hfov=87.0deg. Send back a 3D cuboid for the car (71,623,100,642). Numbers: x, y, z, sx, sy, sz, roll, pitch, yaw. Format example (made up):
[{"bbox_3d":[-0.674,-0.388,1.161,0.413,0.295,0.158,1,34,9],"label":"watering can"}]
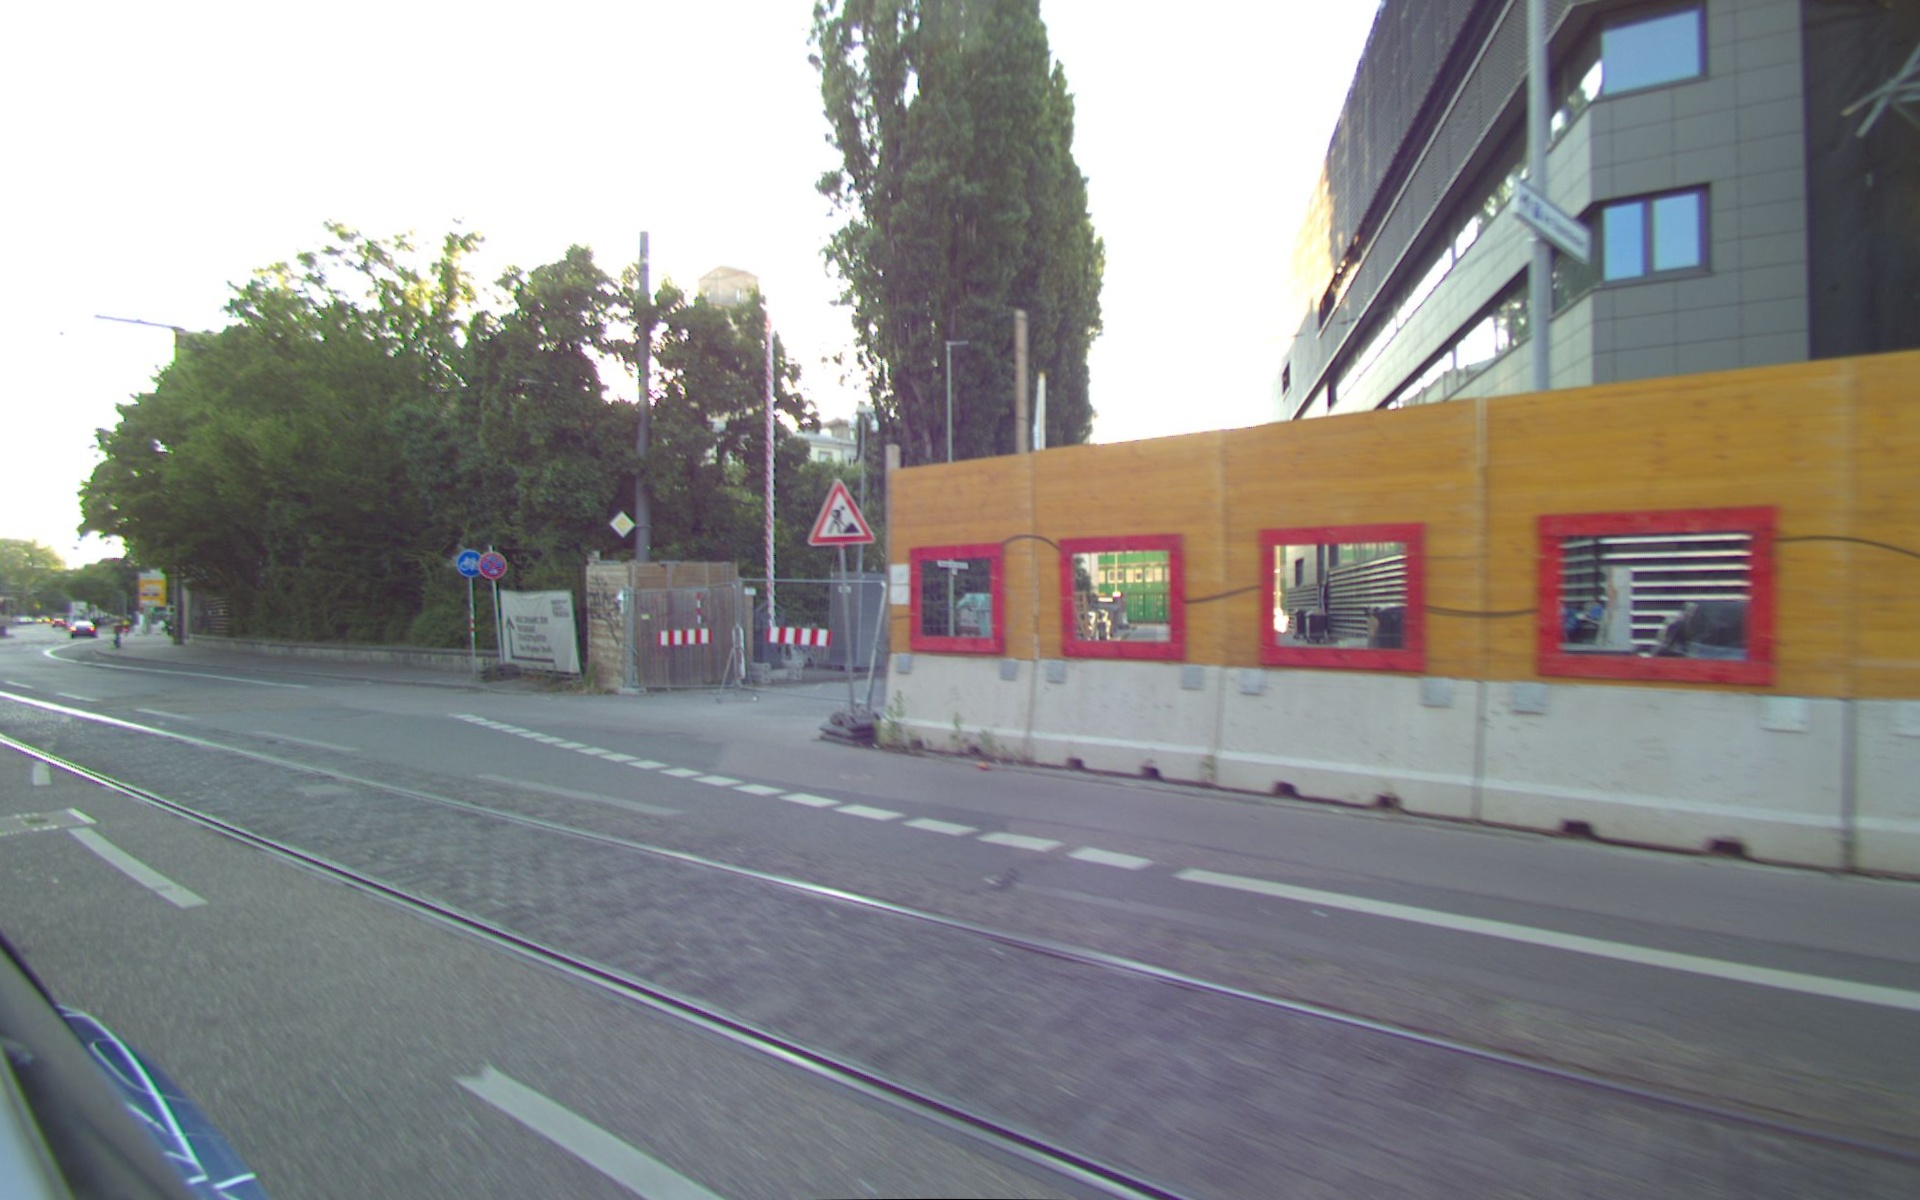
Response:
[{"bbox_3d":[-80.724,3.026,93.384,1.969,1.697,4.005,0,-2,-42],"label":"car"}]

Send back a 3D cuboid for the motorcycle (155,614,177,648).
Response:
[{"bbox_3d":[-58.091,2.256,74.036,1.008,2.461,2.670,0,-1,-43],"label":"motorcycle"}]
